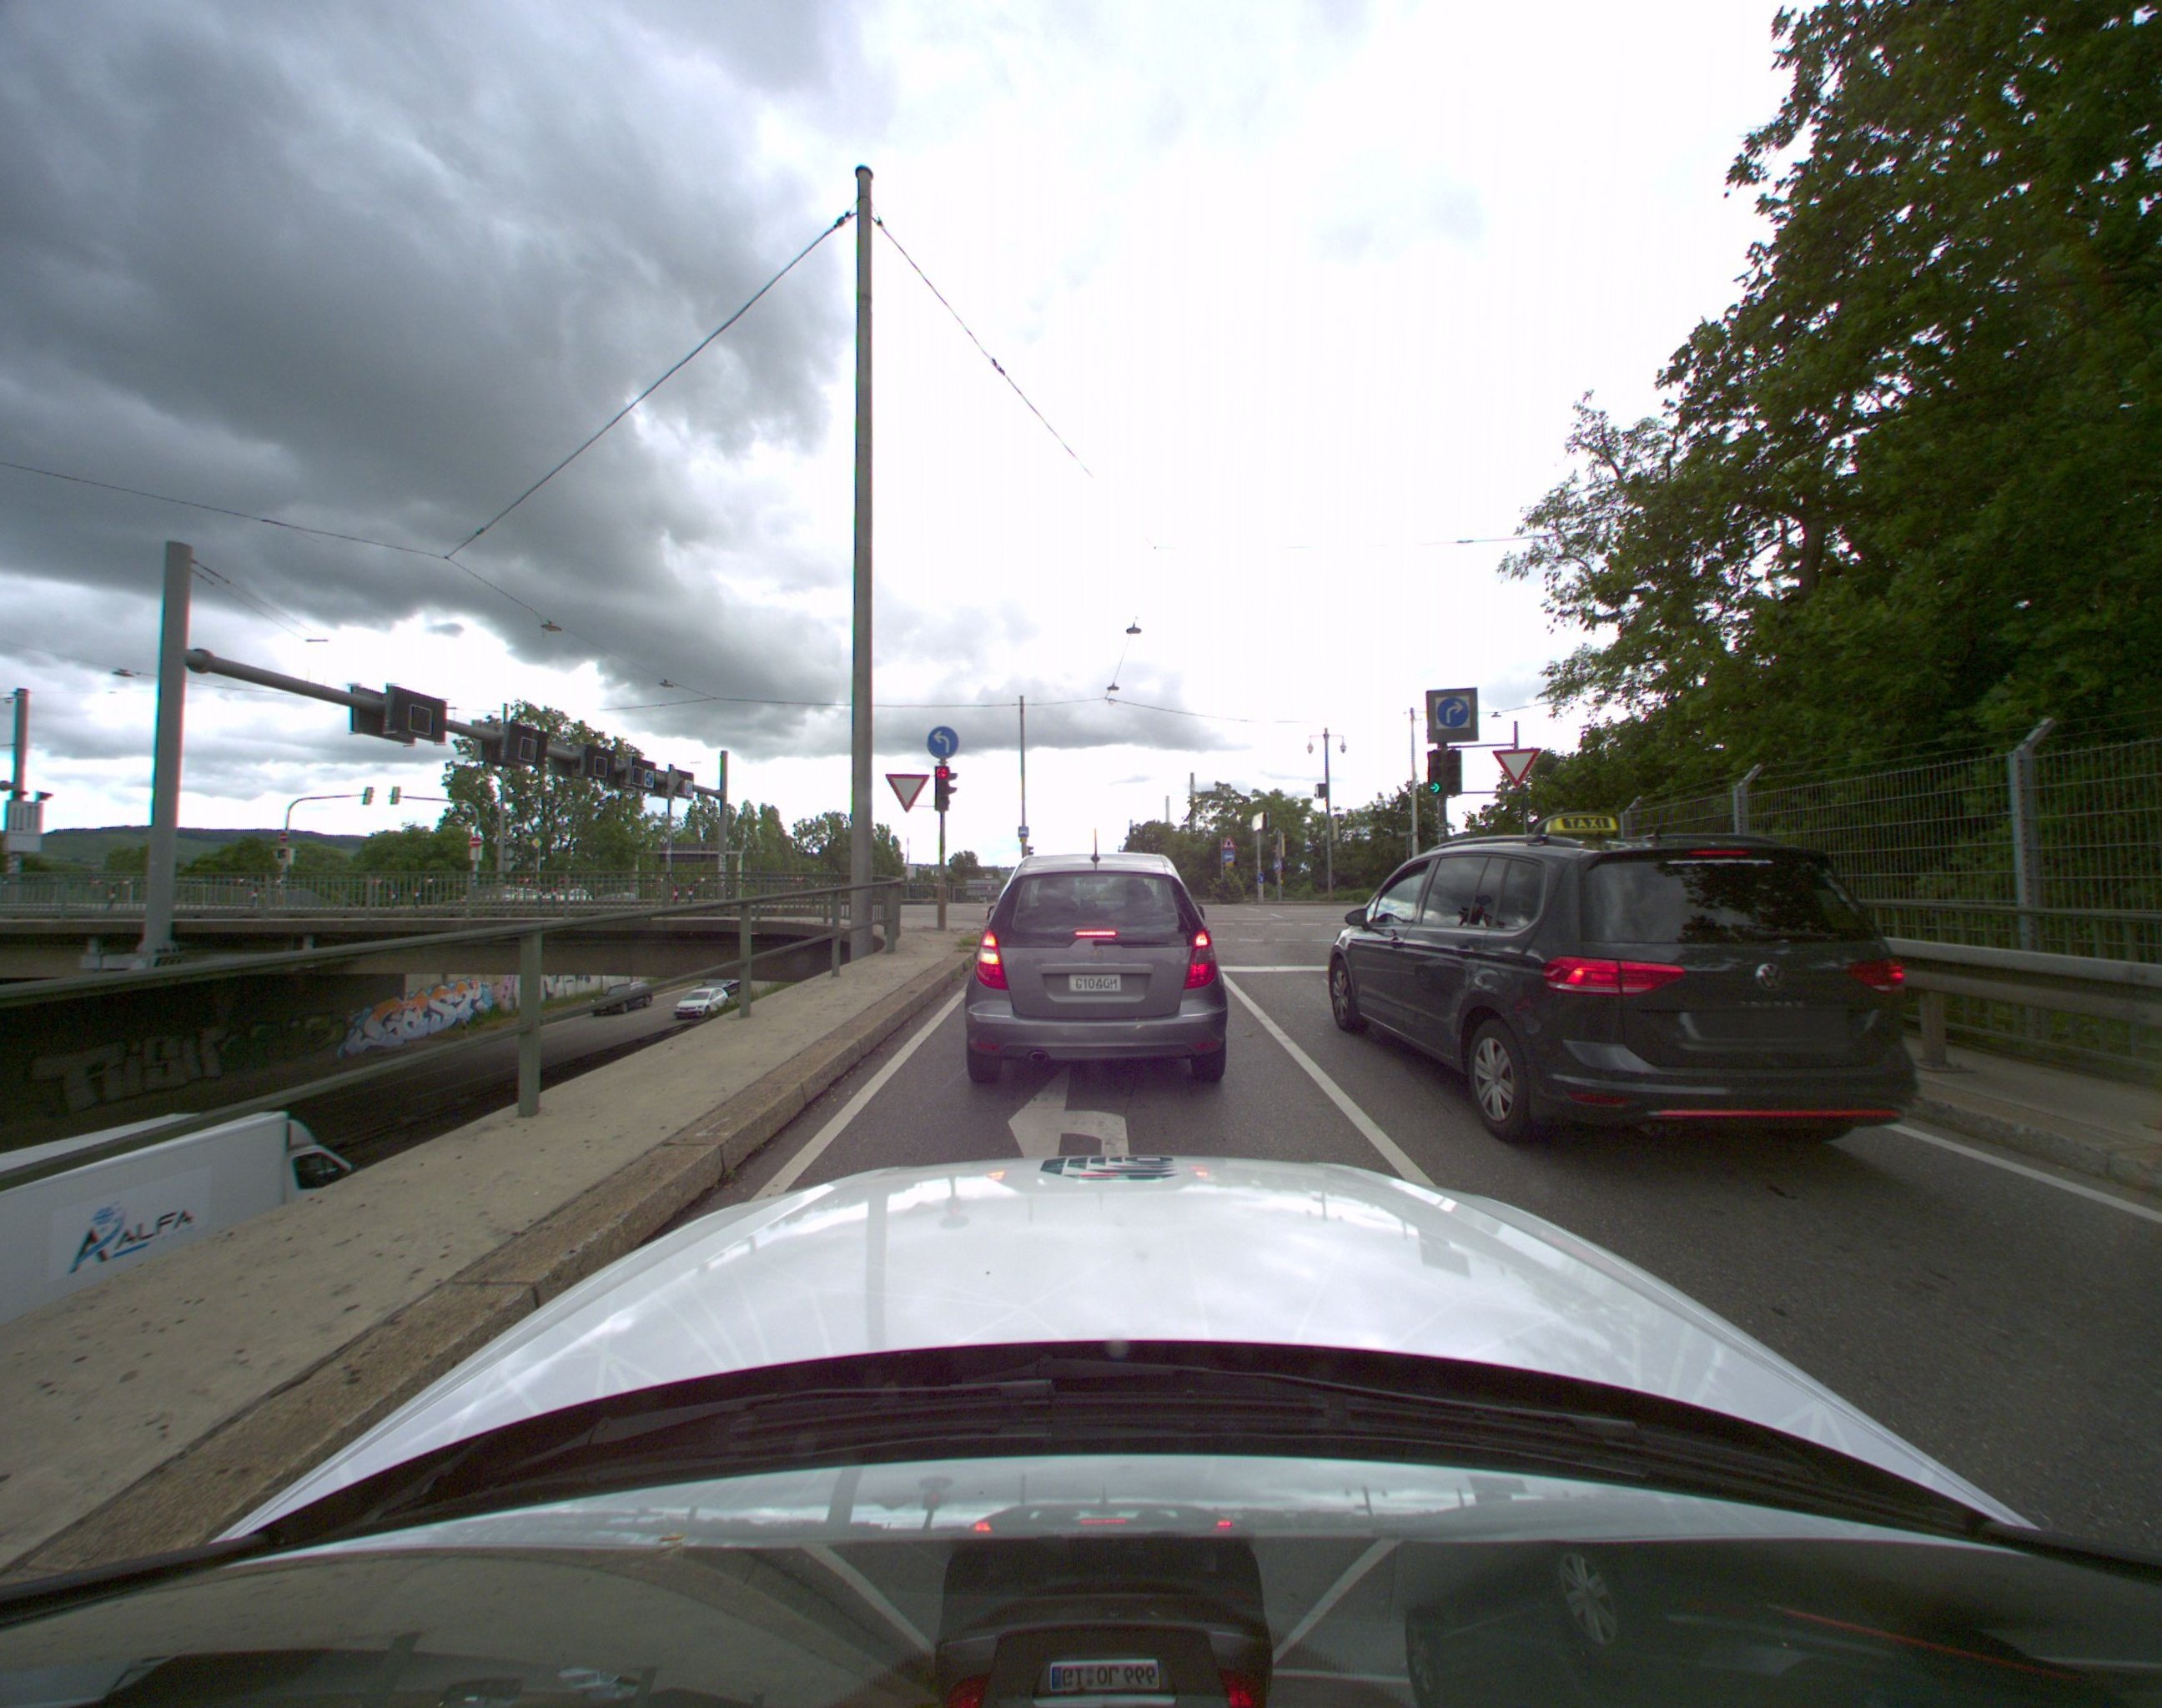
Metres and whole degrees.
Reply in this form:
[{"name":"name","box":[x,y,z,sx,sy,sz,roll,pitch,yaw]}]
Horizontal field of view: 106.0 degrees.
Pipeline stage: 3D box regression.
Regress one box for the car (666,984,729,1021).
[{"name":"car","box":[-22.226,8.619,47.374,1.769,1.494,3.896,-3,-3,0]}]

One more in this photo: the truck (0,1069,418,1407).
[{"name":"truck","box":[-15.323,5.952,13.662,2.224,3.009,7.233,-2,-3,2]}]

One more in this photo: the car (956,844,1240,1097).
[{"name":"car","box":[0.164,0.730,6.782,1.733,1.543,3.542,0,-1,2]}]

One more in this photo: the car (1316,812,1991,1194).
[{"name":"car","box":[3.104,0.665,5.640,1.790,1.653,4.150,0,-1,1]}]

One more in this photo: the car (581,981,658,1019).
[{"name":"car","box":[-28.357,8.932,50.236,1.986,1.626,4.580,-3,-3,2]}]
